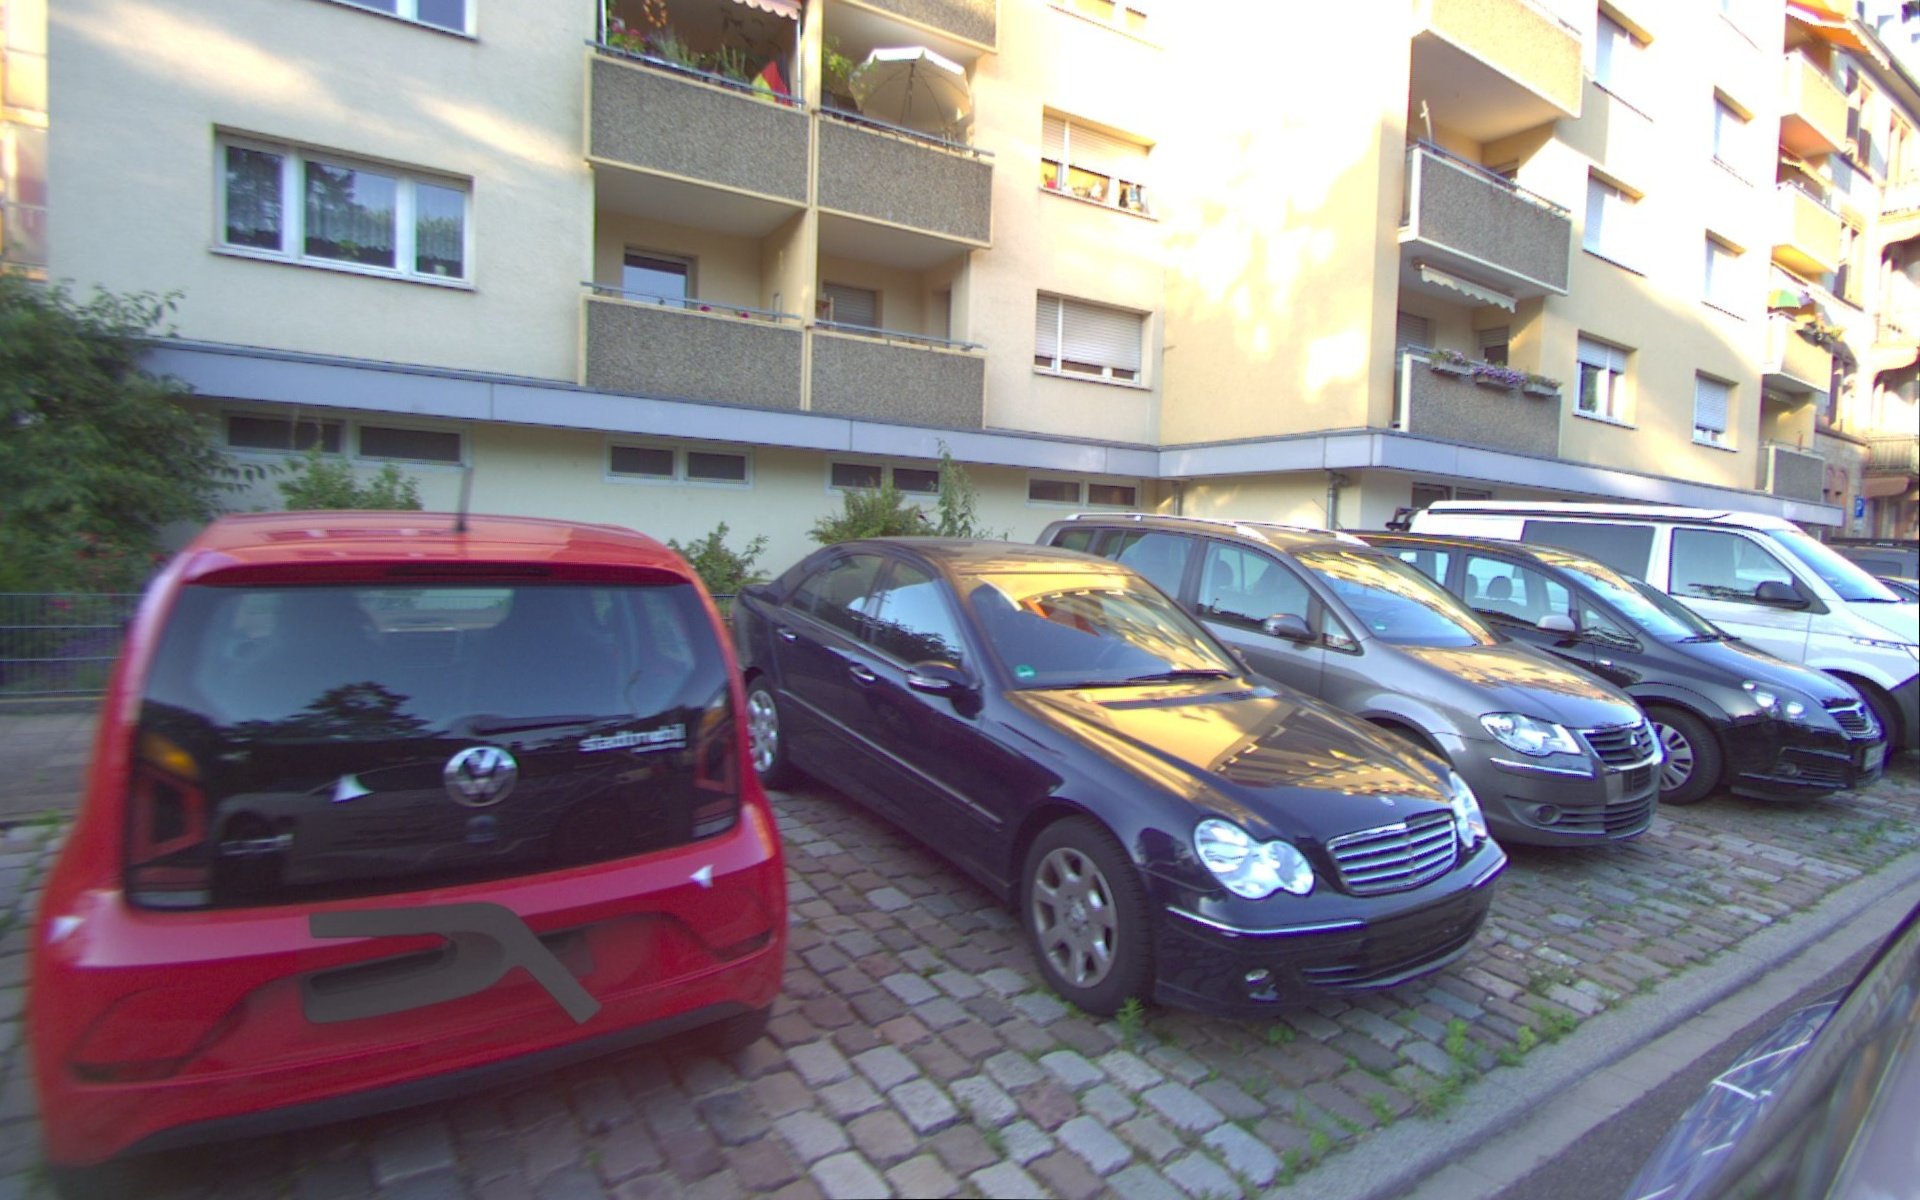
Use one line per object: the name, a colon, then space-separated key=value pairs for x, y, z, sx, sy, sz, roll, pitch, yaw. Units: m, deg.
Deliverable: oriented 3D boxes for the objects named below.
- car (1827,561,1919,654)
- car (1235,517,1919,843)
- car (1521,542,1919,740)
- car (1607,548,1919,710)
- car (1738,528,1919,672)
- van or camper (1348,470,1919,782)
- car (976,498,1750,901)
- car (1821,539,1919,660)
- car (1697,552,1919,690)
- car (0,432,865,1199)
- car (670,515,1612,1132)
car: x=18.336 y=0.218 z=17.701 sx=1.810 sy=1.572 sz=4.424 roll=-2 pitch=6 yaw=-32
car: x=4.495 y=0.275 z=7.892 sx=1.749 sy=1.680 sz=4.343 roll=-3 pitch=7 yaw=-36
car: x=8.639 y=0.293 z=10.621 sx=1.811 sy=1.650 sz=4.421 roll=-3 pitch=6 yaw=-34
car: x=10.536 y=0.272 z=12.003 sx=1.811 sy=1.611 sz=4.421 roll=-3 pitch=6 yaw=-34
car: x=14.520 y=-0.005 z=14.727 sx=1.811 sy=2.004 sz=4.656 roll=-3 pitch=6 yaw=-34
van or camper: x=6.612 y=-0.034 z=9.521 sx=2.002 sy=2.192 sz=5.154 roll=-1 pitch=7 yaw=-36
car: x=2.169 y=0.227 z=6.702 sx=1.812 sy=1.680 sz=4.421 roll=-3 pitch=7 yaw=-36
car: x=16.572 y=0.085 z=15.668 sx=1.810 sy=1.885 sz=4.531 roll=-1 pitch=5 yaw=-35
car: x=12.560 y=0.271 z=13.155 sx=1.811 sy=1.581 sz=4.421 roll=-3 pitch=6 yaw=-34
car: x=-2.202 y=0.271 z=3.909 sx=1.809 sy=1.649 sz=4.427 roll=0 pitch=7 yaw=-32
car: x=0.282 y=0.394 z=4.889 sx=1.812 sy=1.549 sz=4.420 roll=-3 pitch=6 yaw=-36
